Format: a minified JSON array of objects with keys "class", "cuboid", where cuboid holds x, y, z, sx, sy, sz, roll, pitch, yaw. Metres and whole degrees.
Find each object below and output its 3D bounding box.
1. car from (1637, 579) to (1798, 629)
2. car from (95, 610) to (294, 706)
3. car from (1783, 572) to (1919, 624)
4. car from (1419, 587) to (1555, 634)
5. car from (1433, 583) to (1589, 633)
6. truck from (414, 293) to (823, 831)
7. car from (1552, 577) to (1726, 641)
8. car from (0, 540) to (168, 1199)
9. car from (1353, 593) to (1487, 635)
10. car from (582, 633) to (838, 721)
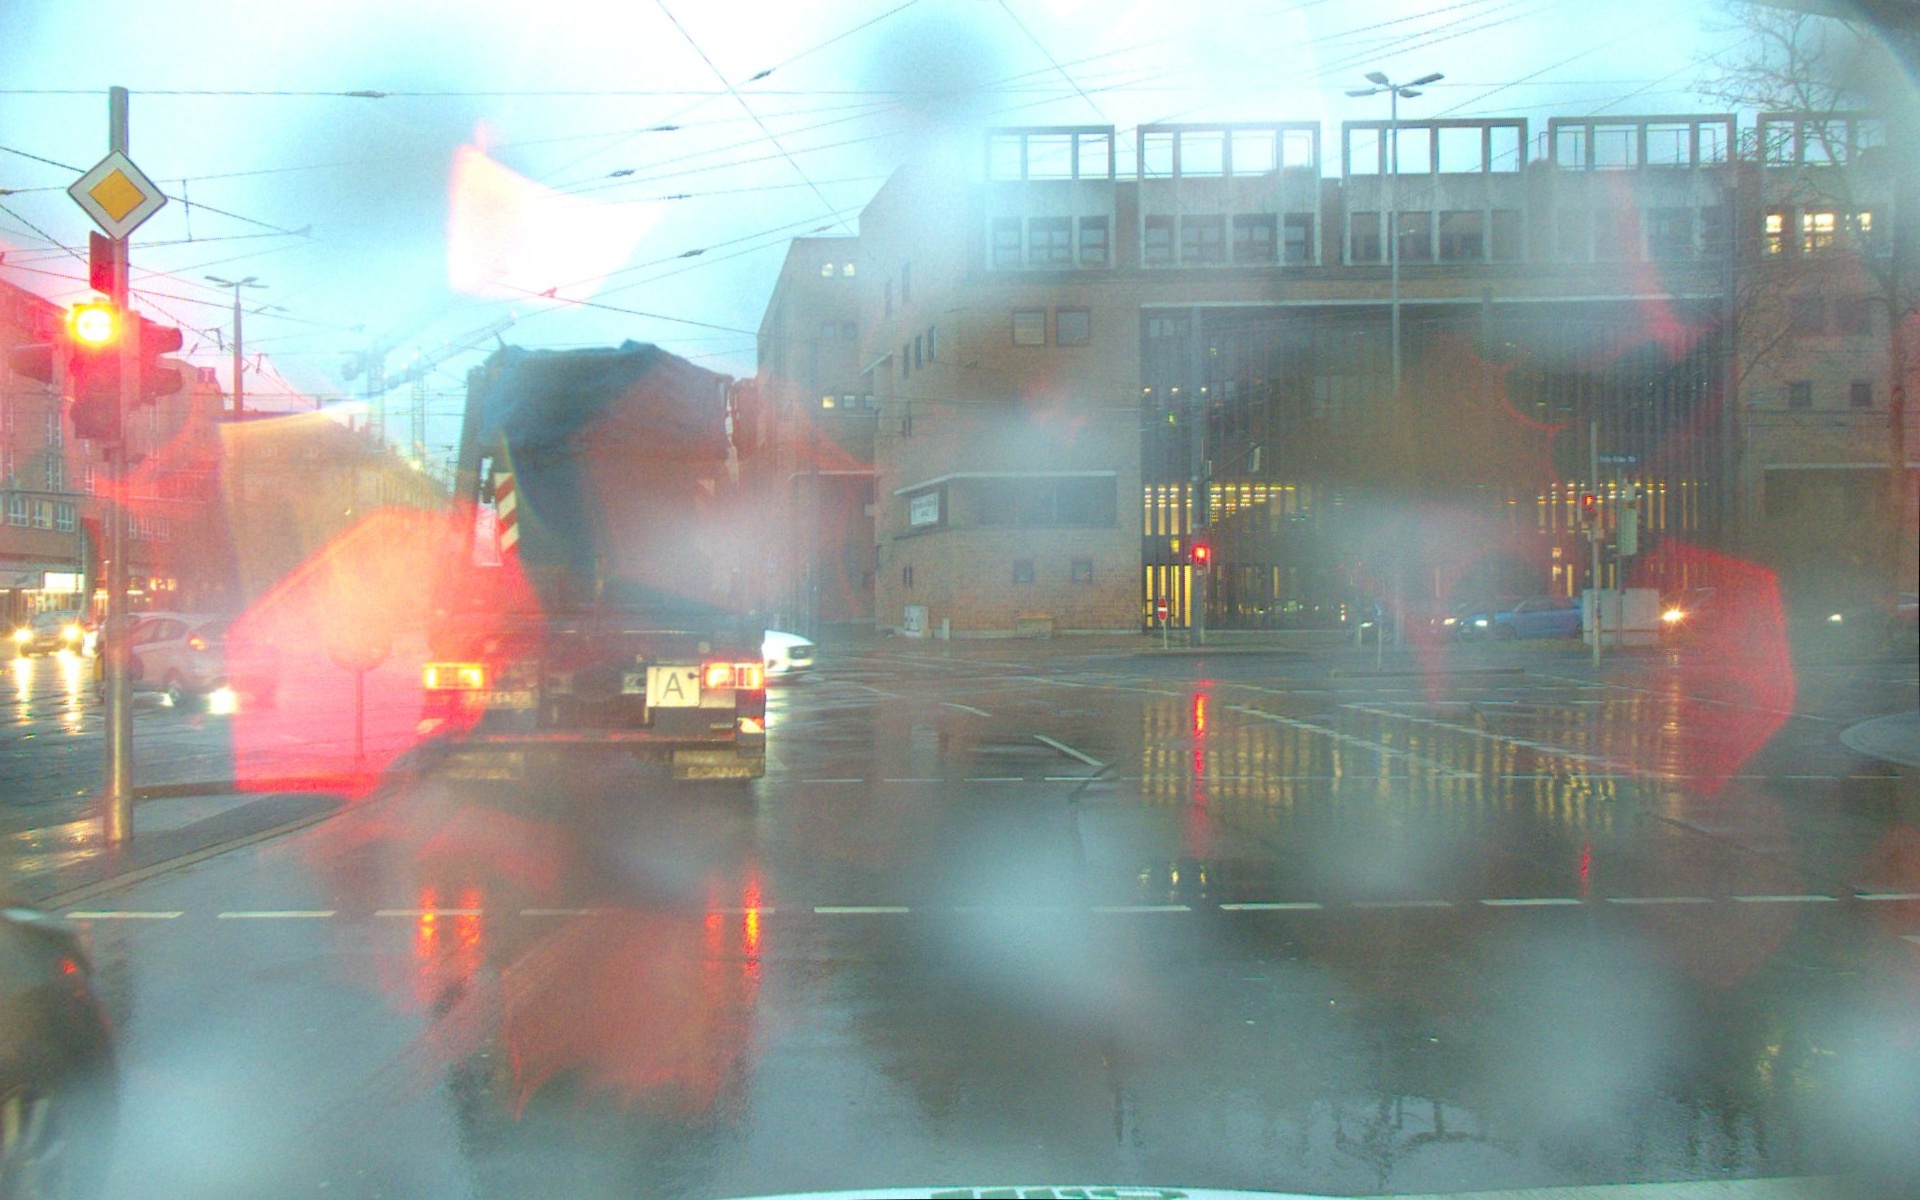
[{"class":"car","cuboid":[22.343,0.102,48.854,3.910,1.310,1.846,-1,4,-7]},{"class":"car","cuboid":[-13.043,0.948,28.106,3.929,1.473,1.700,-1,0,43]},{"class":"car","cuboid":[29.328,-0.069,54.127,3.910,1.530,1.846,-1,4,-7]},{"class":"car","cuboid":[16.598,0.325,52.145,3.649,1.284,1.846,-1,4,-7]},{"class":"car","cuboid":[15.972,0.217,48.050,3.910,1.284,1.846,-1,4,-7]},{"class":"truck","cuboid":[-3.068,-0.282,15.343,2.788,3.697,7.507,-1,0,-11]},{"class":"car","cuboid":[18.224,0.214,44.505,3.910,1.530,1.846,-1,4,-7]},{"class":"car","cuboid":[-2.609,0.658,1.821,1.596,1.550,3.941,-1,-1,-1]},{"class":"car","cuboid":[15.533,0.458,55.956,3.909,1.333,1.998,-1,0,-5]},{"class":"car","cuboid":[-4.959,1.469,32.725,4.725,1.588,2.048,-1,0,28]}]
